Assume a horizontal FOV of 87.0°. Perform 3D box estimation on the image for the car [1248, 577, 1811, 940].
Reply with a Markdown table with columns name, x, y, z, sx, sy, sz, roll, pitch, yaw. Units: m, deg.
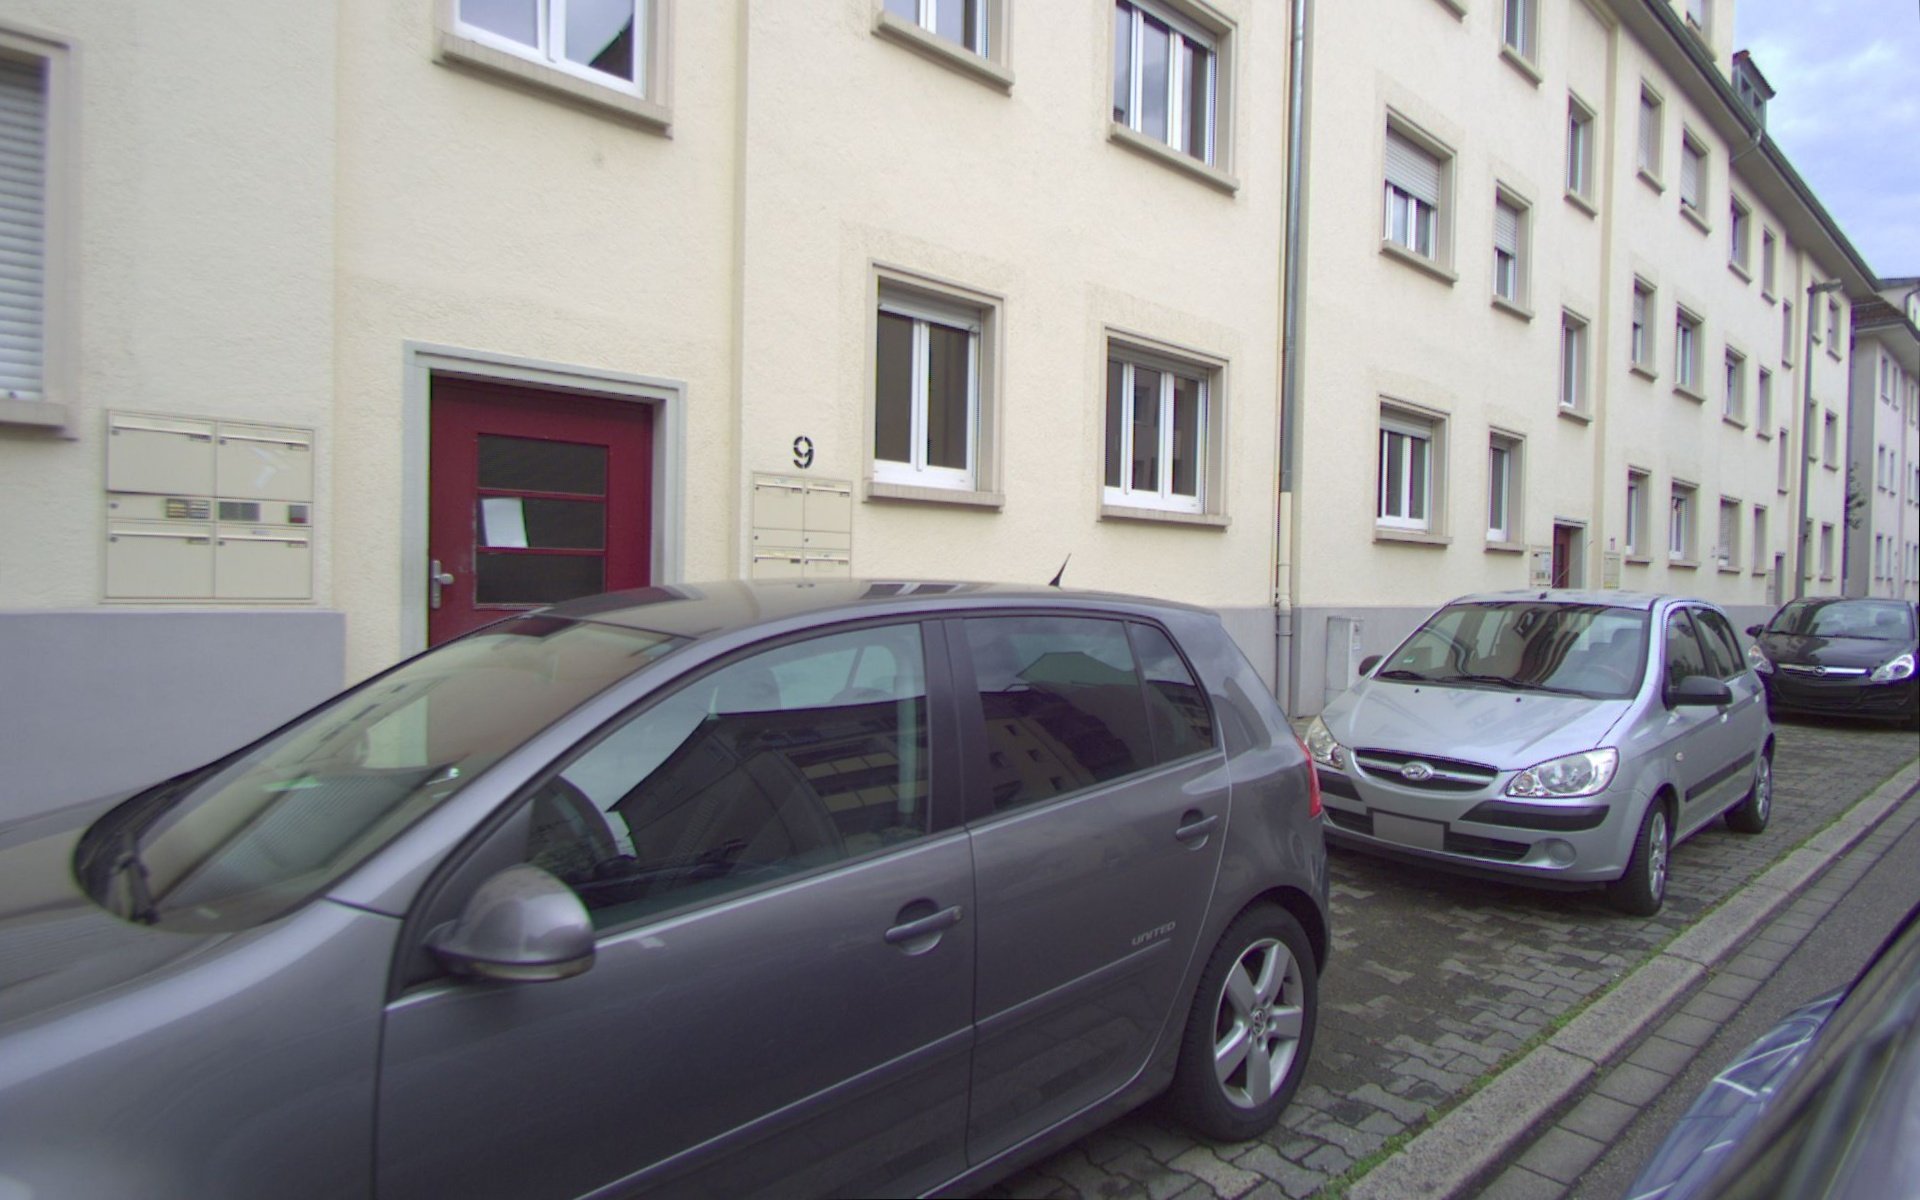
| name | x | y | z | sx | sy | sz | roll | pitch | yaw |
| --- | --- | --- | --- | --- | --- | --- | --- | --- | --- |
| car | 3.570 | 0.616 | 6.060 | 3.767 | 1.468 | 1.851 | 0 | 1 | -42 |

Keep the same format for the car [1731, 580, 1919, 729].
| name | x | y | z | sx | sy | sz | roll | pitch | yaw |
| --- | --- | --- | --- | --- | --- | --- | --- | --- | --- |
| car | 11.051 | 0.551 | 12.467 | 3.990 | 1.536 | 1.728 | 0 | 1 | -42 |

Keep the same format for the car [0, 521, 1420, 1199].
| name | x | y | z | sx | sy | sz | roll | pitch | yaw |
| --- | --- | --- | --- | --- | --- | --- | --- | --- | --- |
| car | -0.545 | 0.650 | 2.503 | 3.801 | 1.495 | 1.606 | 0 | 1 | -40 |
